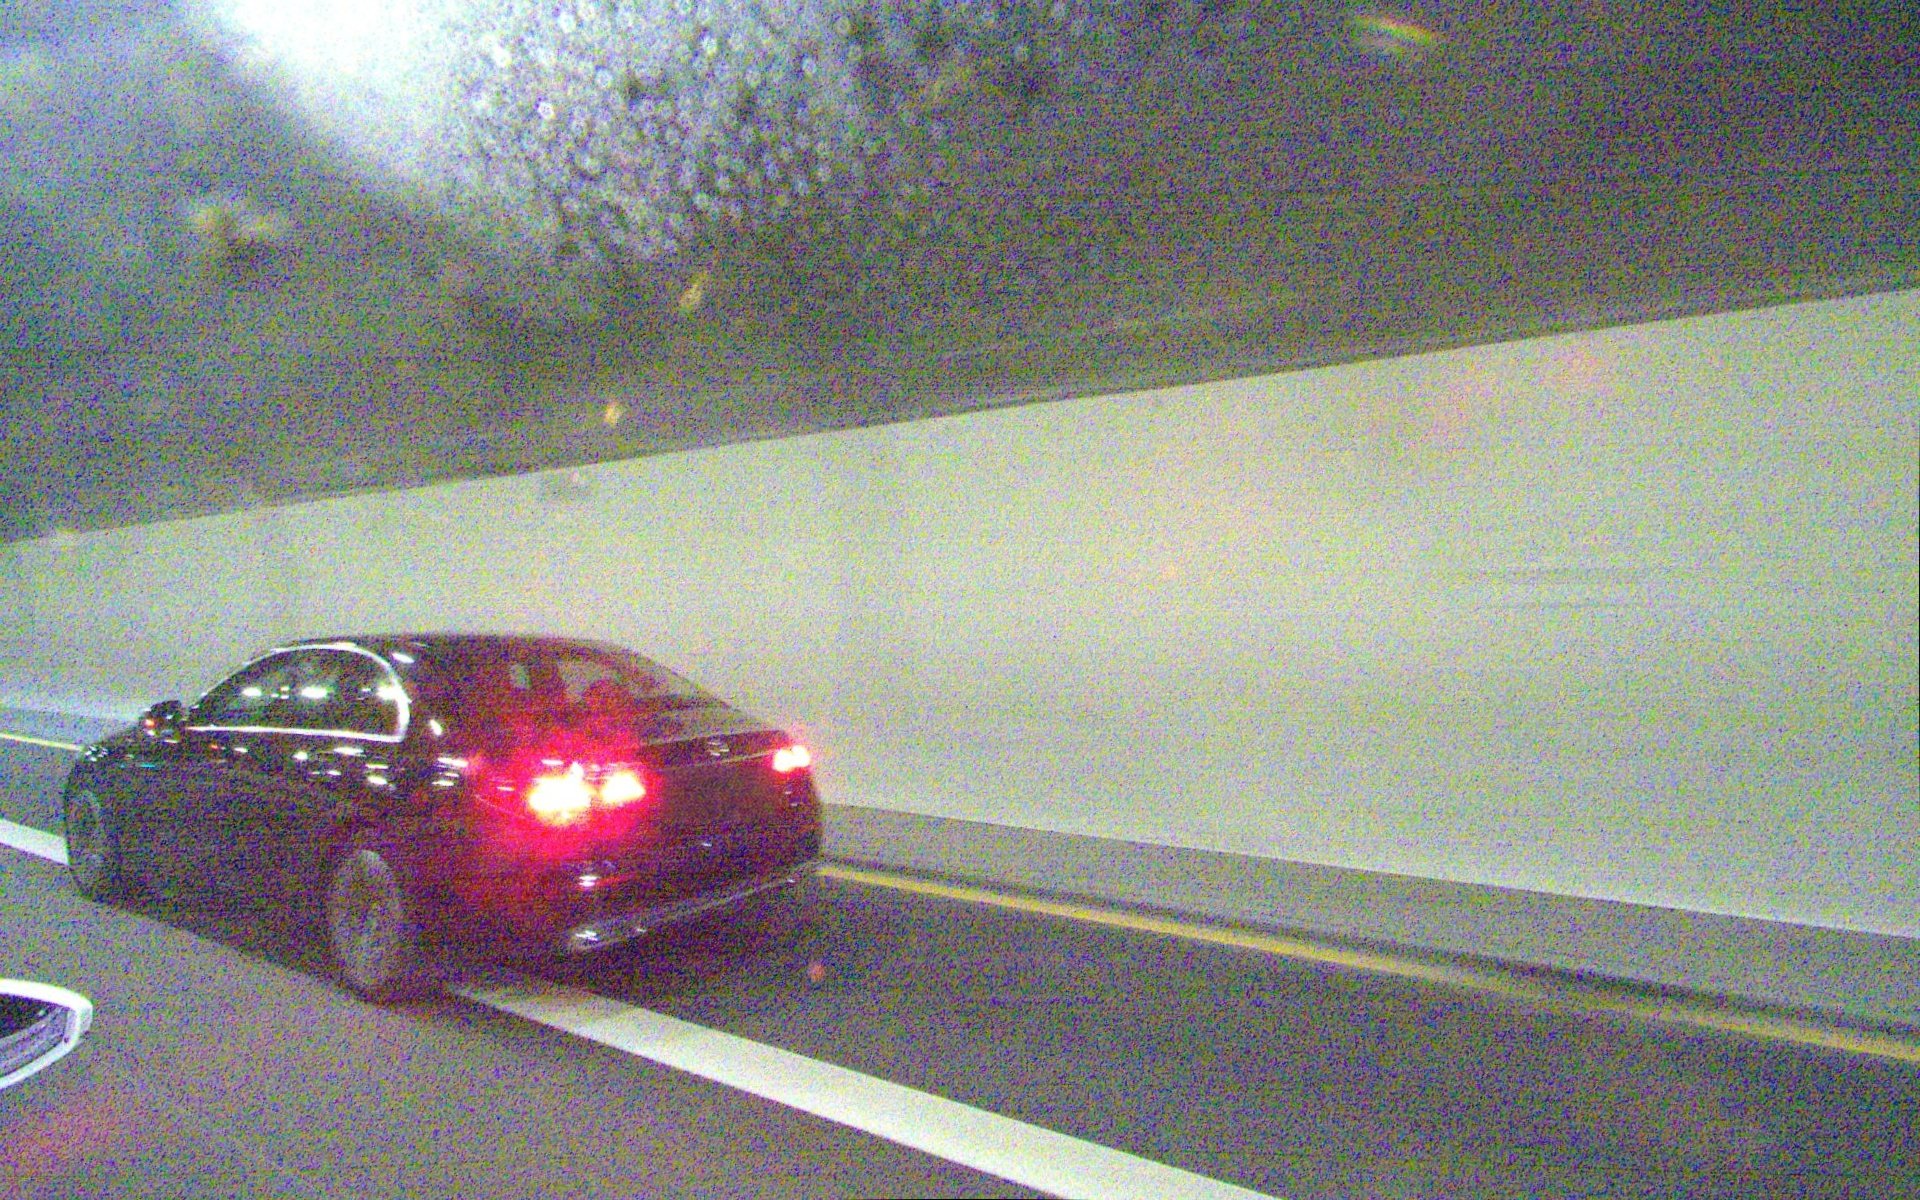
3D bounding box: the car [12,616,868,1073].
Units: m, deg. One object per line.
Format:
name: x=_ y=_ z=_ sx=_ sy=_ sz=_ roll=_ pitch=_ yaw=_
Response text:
car: x=-3.019 y=0.874 z=5.416 sx=4.884 sy=1.491 sz=1.922 roll=-1 pitch=-2 yaw=32
